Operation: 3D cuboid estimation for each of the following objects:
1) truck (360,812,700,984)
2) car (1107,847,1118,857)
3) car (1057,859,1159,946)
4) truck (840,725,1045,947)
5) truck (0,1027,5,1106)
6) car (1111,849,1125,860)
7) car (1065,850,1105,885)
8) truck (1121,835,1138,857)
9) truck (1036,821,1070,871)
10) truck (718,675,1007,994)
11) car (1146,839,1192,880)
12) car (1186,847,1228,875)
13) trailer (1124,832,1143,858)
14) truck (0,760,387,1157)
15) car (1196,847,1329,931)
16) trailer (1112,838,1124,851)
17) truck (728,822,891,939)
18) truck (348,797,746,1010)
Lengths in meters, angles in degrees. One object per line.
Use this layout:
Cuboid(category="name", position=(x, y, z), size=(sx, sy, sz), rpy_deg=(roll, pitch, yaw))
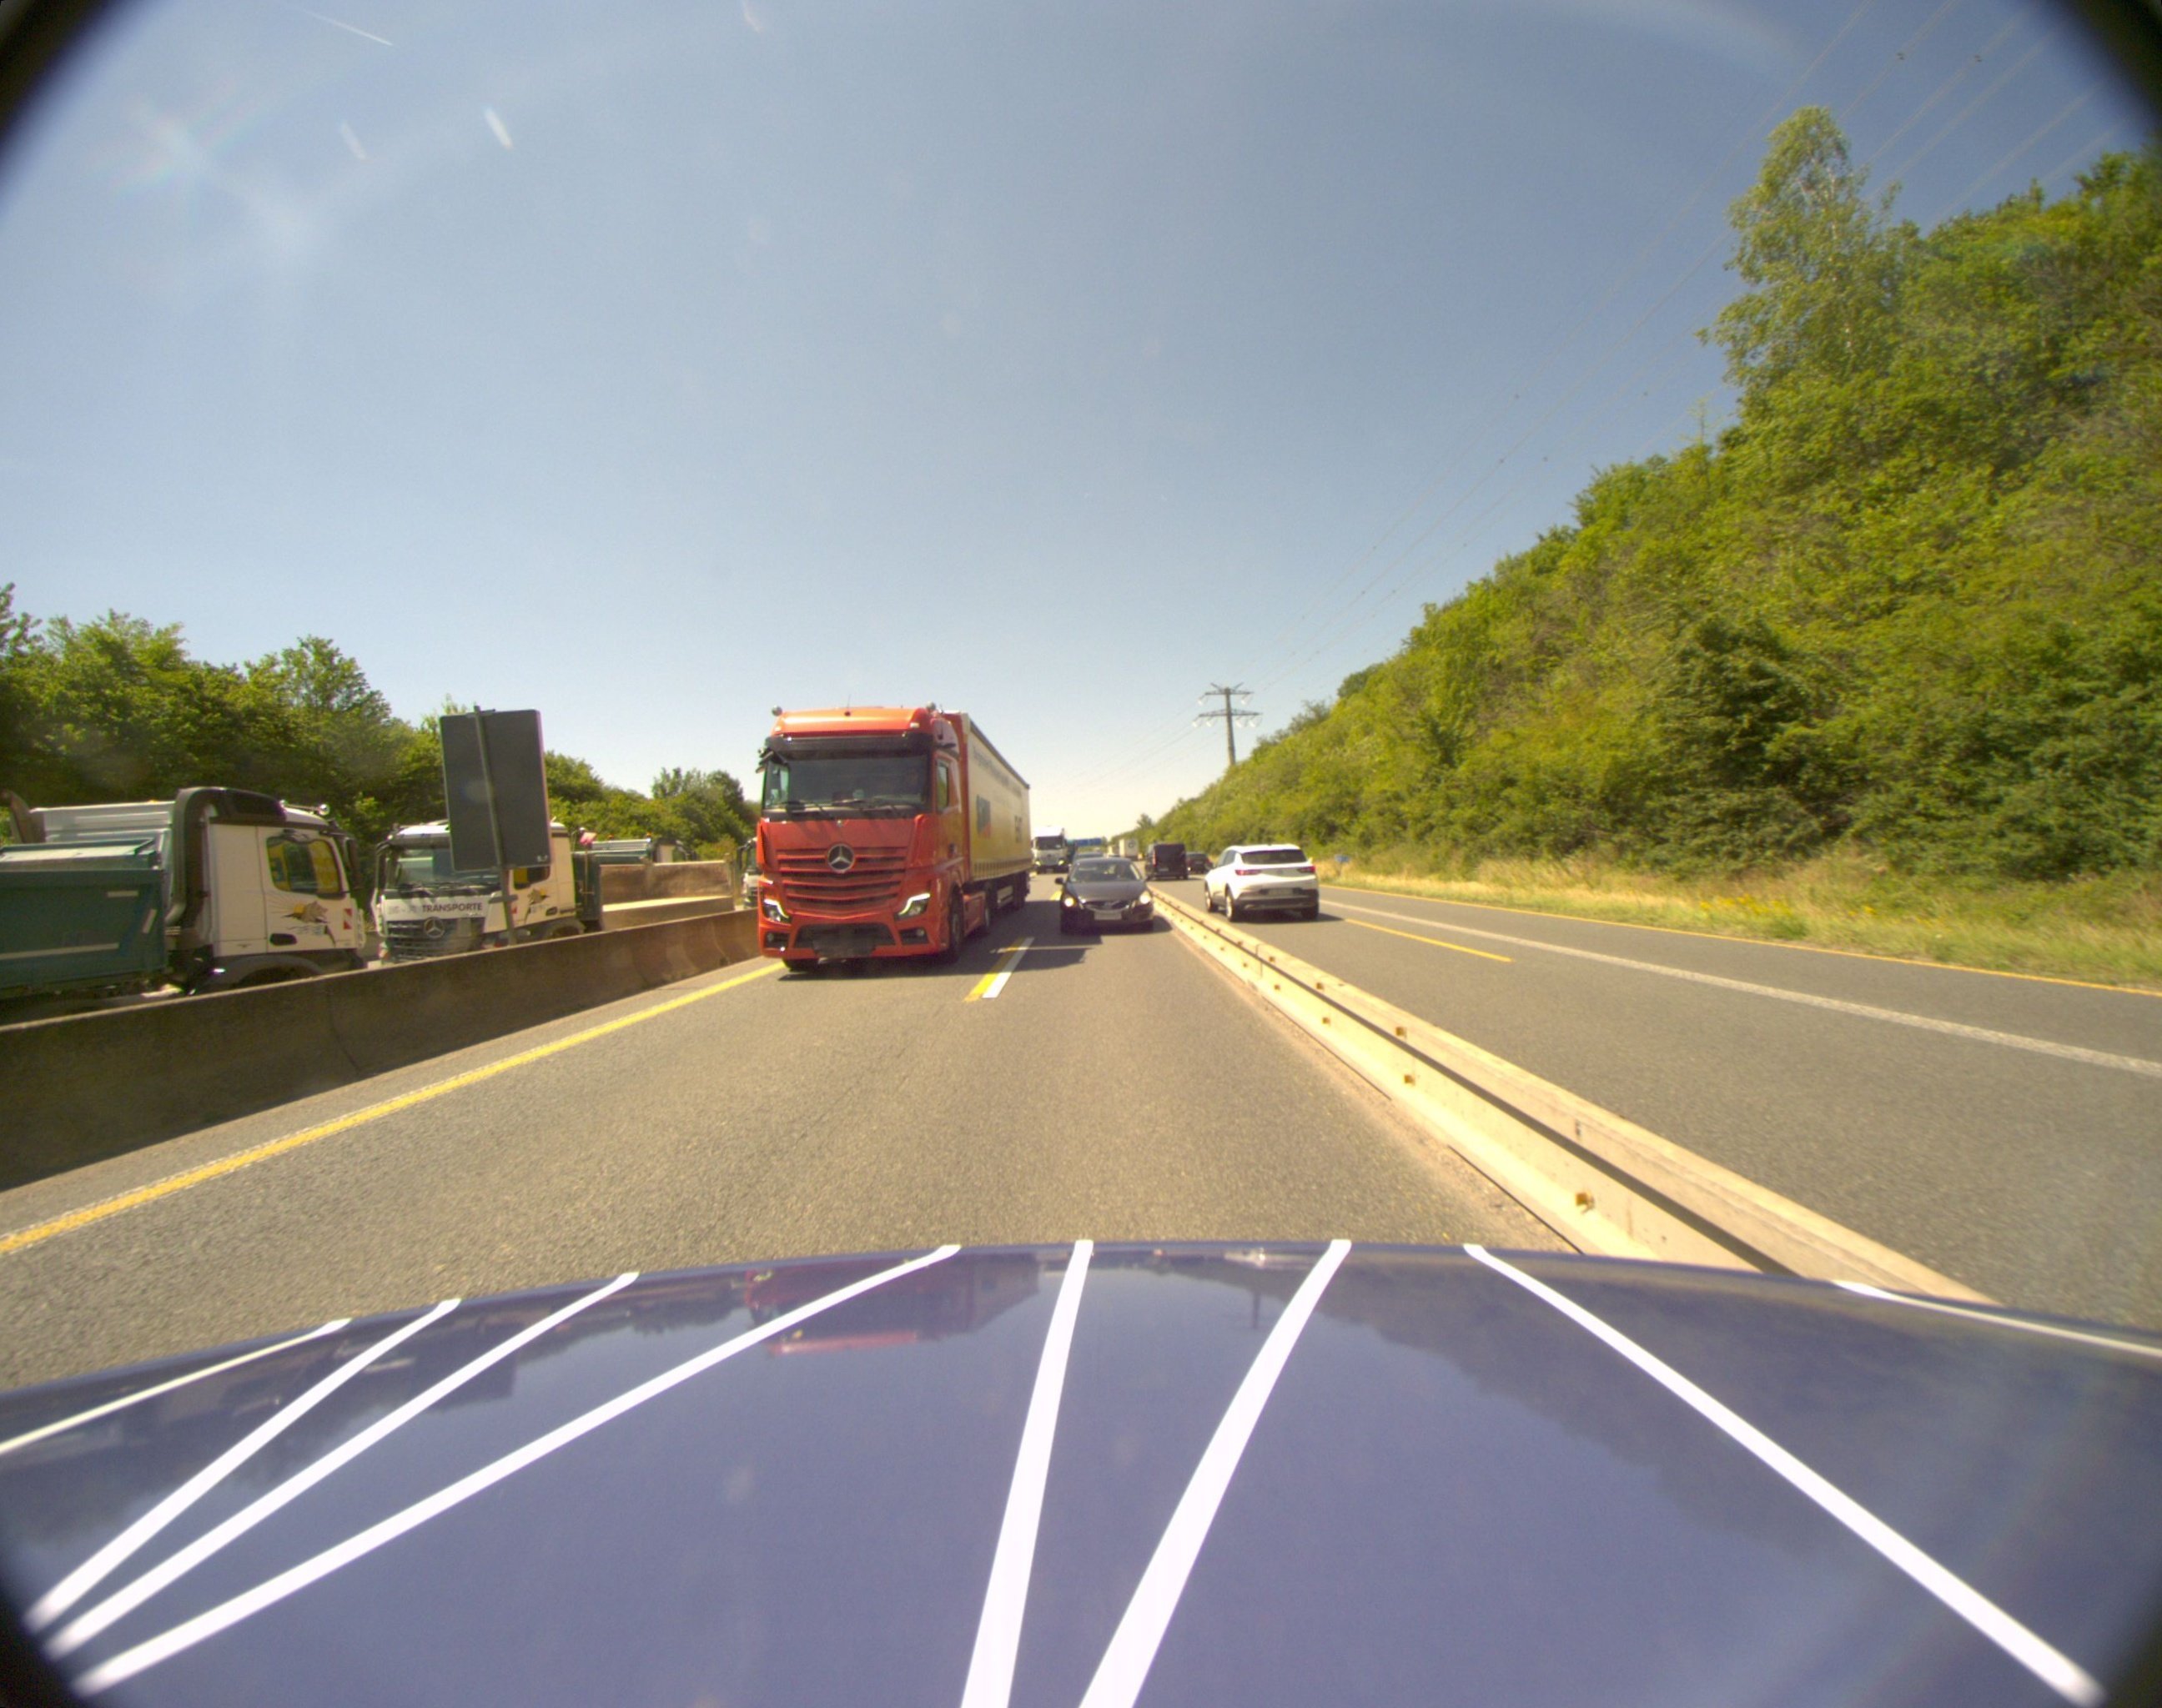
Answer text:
Cuboid(category="truck", position=(-13.650, 0.907, 20.129), size=(2.694, 3.490, 8.379), rpy_deg=(-3, 0, 0))
Cuboid(category="car", position=(5.809, -0.419, 139.046), size=(1.767, 1.622, 4.296), rpy_deg=(-3, 1, 0))
Cuboid(category="car", position=(0.510, 0.859, 15.545), size=(1.767, 1.411, 4.698), rpy_deg=(0, 1, 1))
Cuboid(category="truck", position=(-2.886, -0.408, 20.690), size=(2.689, 3.987, 13.218), rpy_deg=(-3, 1, 1))
Cuboid(category="truck", position=(-13.645, 1.154, 3.780), size=(2.694, 3.536, 9.602), rpy_deg=(-3, 0, 0))
Cuboid(category="car", position=(5.489, 0.090, 112.393), size=(1.717, 1.417, 4.169), rpy_deg=(-3, 1, 0))
Cuboid(category="car", position=(0.230, 0.606, 37.323), size=(1.767, 1.523, 4.698), rpy_deg=(-3, 1, 1))
Cuboid(category="truck", position=(9.173, -1.465, 145.655), size=(2.416, 3.969, 10.351), rpy_deg=(-3, 0, 0))
Cuboid(category="truck", position=(-2.431, -0.673, 69.499), size=(2.481, 4.030, 13.109), rpy_deg=(-3, 0, 0))
Cuboid(category="truck", position=(-3.137, -0.276, 13.142), size=(2.689, 3.987, 6.725), rpy_deg=(-3, 1, 2))
Cuboid(category="car", position=(4.687, 0.274, 41.134), size=(1.895, 2.002, 4.817), rpy_deg=(-3, 0, 1))
Cuboid(category="car", position=(7.542, 0.365, 45.801), size=(1.797, 1.516, 4.531), rpy_deg=(-3, 0, 1))
Cuboid(category="trailer", position=(9.354, -1.559, 136.230), size=(2.644, 4.287, 8.447), rpy_deg=(-3, 0, 0))
Cuboid(category="truck", position=(-10.927, 0.983, 5.633), size=(2.545, 3.536, 9.601), rpy_deg=(-3, 0, 0))
Cuboid(category="car", position=(3.920, 0.679, 17.241), size=(1.848, 1.524, 4.671), rpy_deg=(-4, 0, 0))
Cuboid(category="trailer", position=(9.760, -2.537, 202.580), size=(2.657, 3.317, 8.918), rpy_deg=(-4, 0, 1))
Cuboid(category="truck", position=(-9.516, 0.798, 27.996), size=(2.539, 3.490, 9.096), rpy_deg=(-3, 0, 0))
Cuboid(category="truck", position=(-10.980, 0.817, 17.297), size=(2.539, 3.490, 8.943), rpy_deg=(-3, 0, 0))
